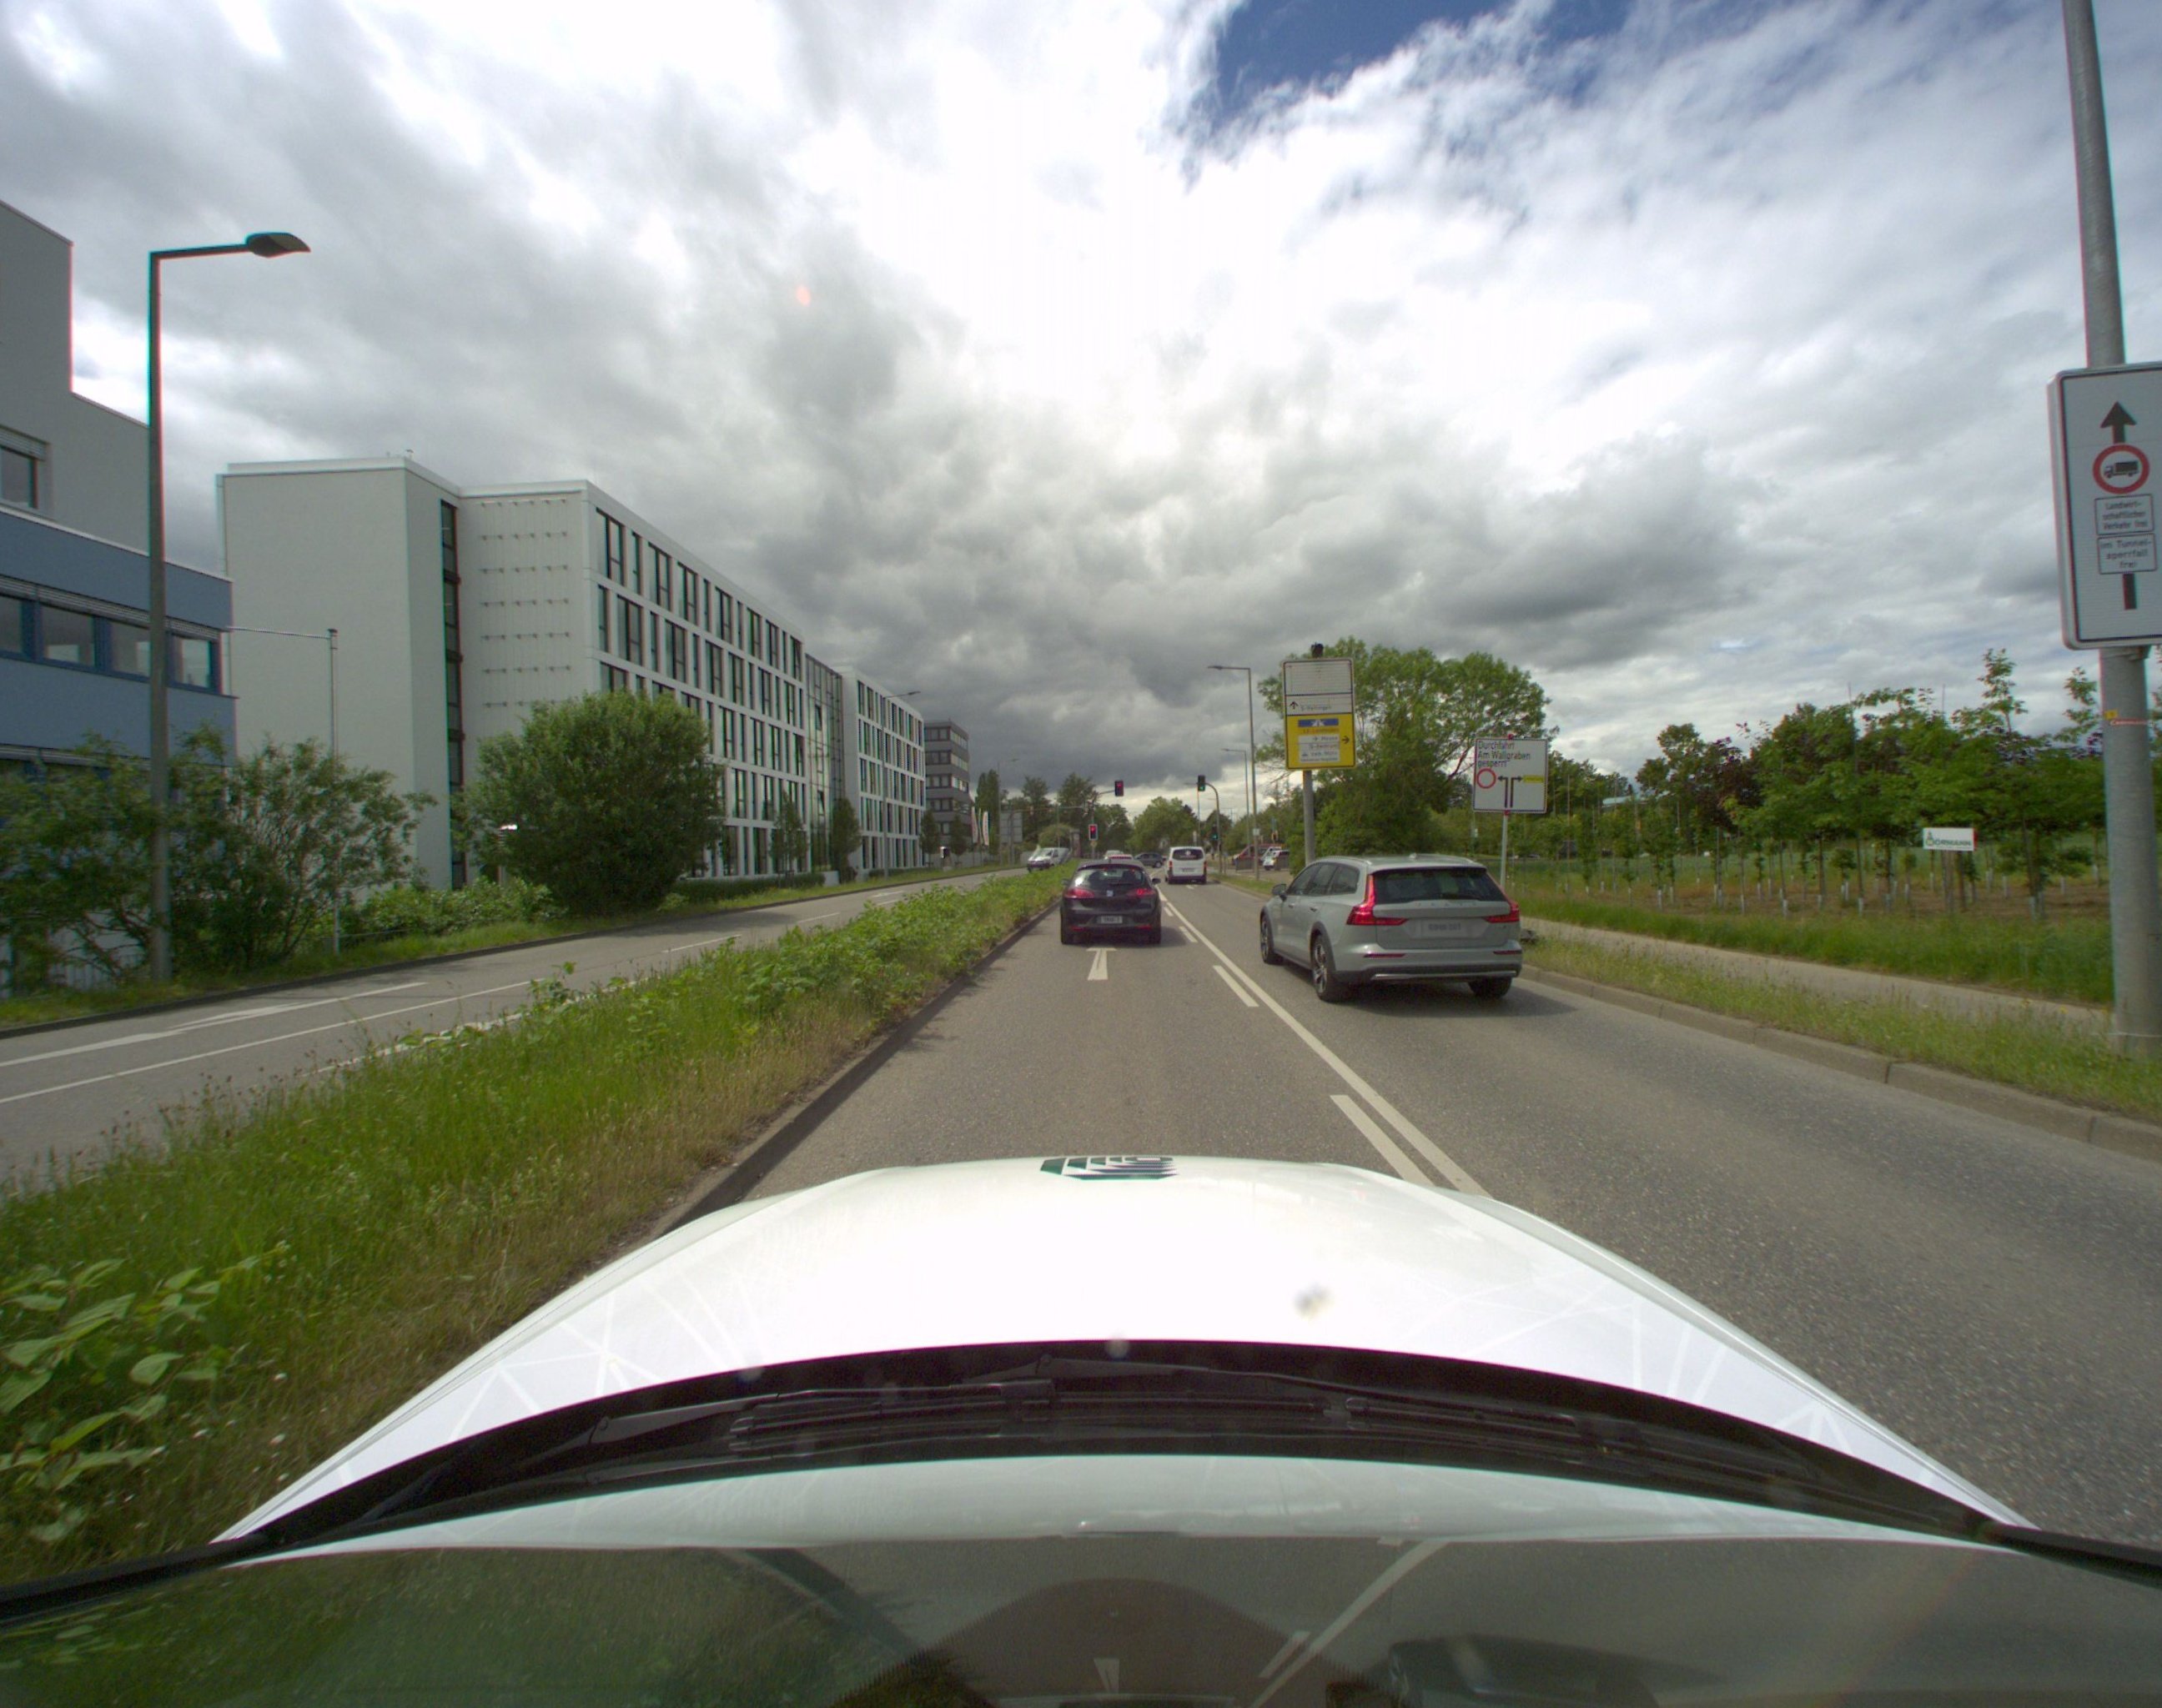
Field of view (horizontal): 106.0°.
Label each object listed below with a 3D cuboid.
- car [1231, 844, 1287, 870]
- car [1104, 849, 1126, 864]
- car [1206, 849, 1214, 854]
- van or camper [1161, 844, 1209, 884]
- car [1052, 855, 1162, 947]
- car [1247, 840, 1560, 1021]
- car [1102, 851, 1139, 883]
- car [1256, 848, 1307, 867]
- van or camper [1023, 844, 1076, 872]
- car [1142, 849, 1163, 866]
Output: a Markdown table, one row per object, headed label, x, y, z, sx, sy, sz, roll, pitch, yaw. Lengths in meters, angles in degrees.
| label | x | y | z | sx | sy | sz | roll | pitch | yaw |
| --- | --- | --- | --- | --- | --- | --- | --- | --- | --- |
| car | 17.272 | 0.284 | 79.295 | 5.191 | 2.412 | 2.006 | -2 | 0 | 10 |
| car | 3.634 | 0.237 | 87.438 | 1.983 | 1.596 | 4.008 | -1 | 0 | 7 |
| car | 35.002 | -0.777 | 221.031 | 1.980 | 1.352 | 4.013 | -1 | 0 | 12 |
| van or camper | 5.218 | 0.459 | 41.352 | 1.986 | 1.860 | 4.946 | -2 | 0 | 2 |
| car | 0.544 | 0.760 | 14.947 | 1.765 | 1.451 | 3.586 | 0 | 0 | 4 |
| car | 3.287 | 0.664 | 9.371 | 1.856 | 1.518 | 4.447 | -2 | 0 | 1 |
| car | 2.000 | 0.639 | 41.593 | 1.766 | 1.491 | 3.584 | -2 | 0 | 2 |
| car | 15.554 | 0.279 | 63.234 | 3.381 | 1.345 | 1.683 | -2 | 0 | -12 |
| van or camper | -2.306 | 0.300 | 61.790 | 1.975 | 2.013 | 4.844 | -2 | 0 | 25 |
| car | 7.009 | 0.354 | 80.176 | 1.984 | 1.596 | 4.006 | -1 | 0 | 5 |
